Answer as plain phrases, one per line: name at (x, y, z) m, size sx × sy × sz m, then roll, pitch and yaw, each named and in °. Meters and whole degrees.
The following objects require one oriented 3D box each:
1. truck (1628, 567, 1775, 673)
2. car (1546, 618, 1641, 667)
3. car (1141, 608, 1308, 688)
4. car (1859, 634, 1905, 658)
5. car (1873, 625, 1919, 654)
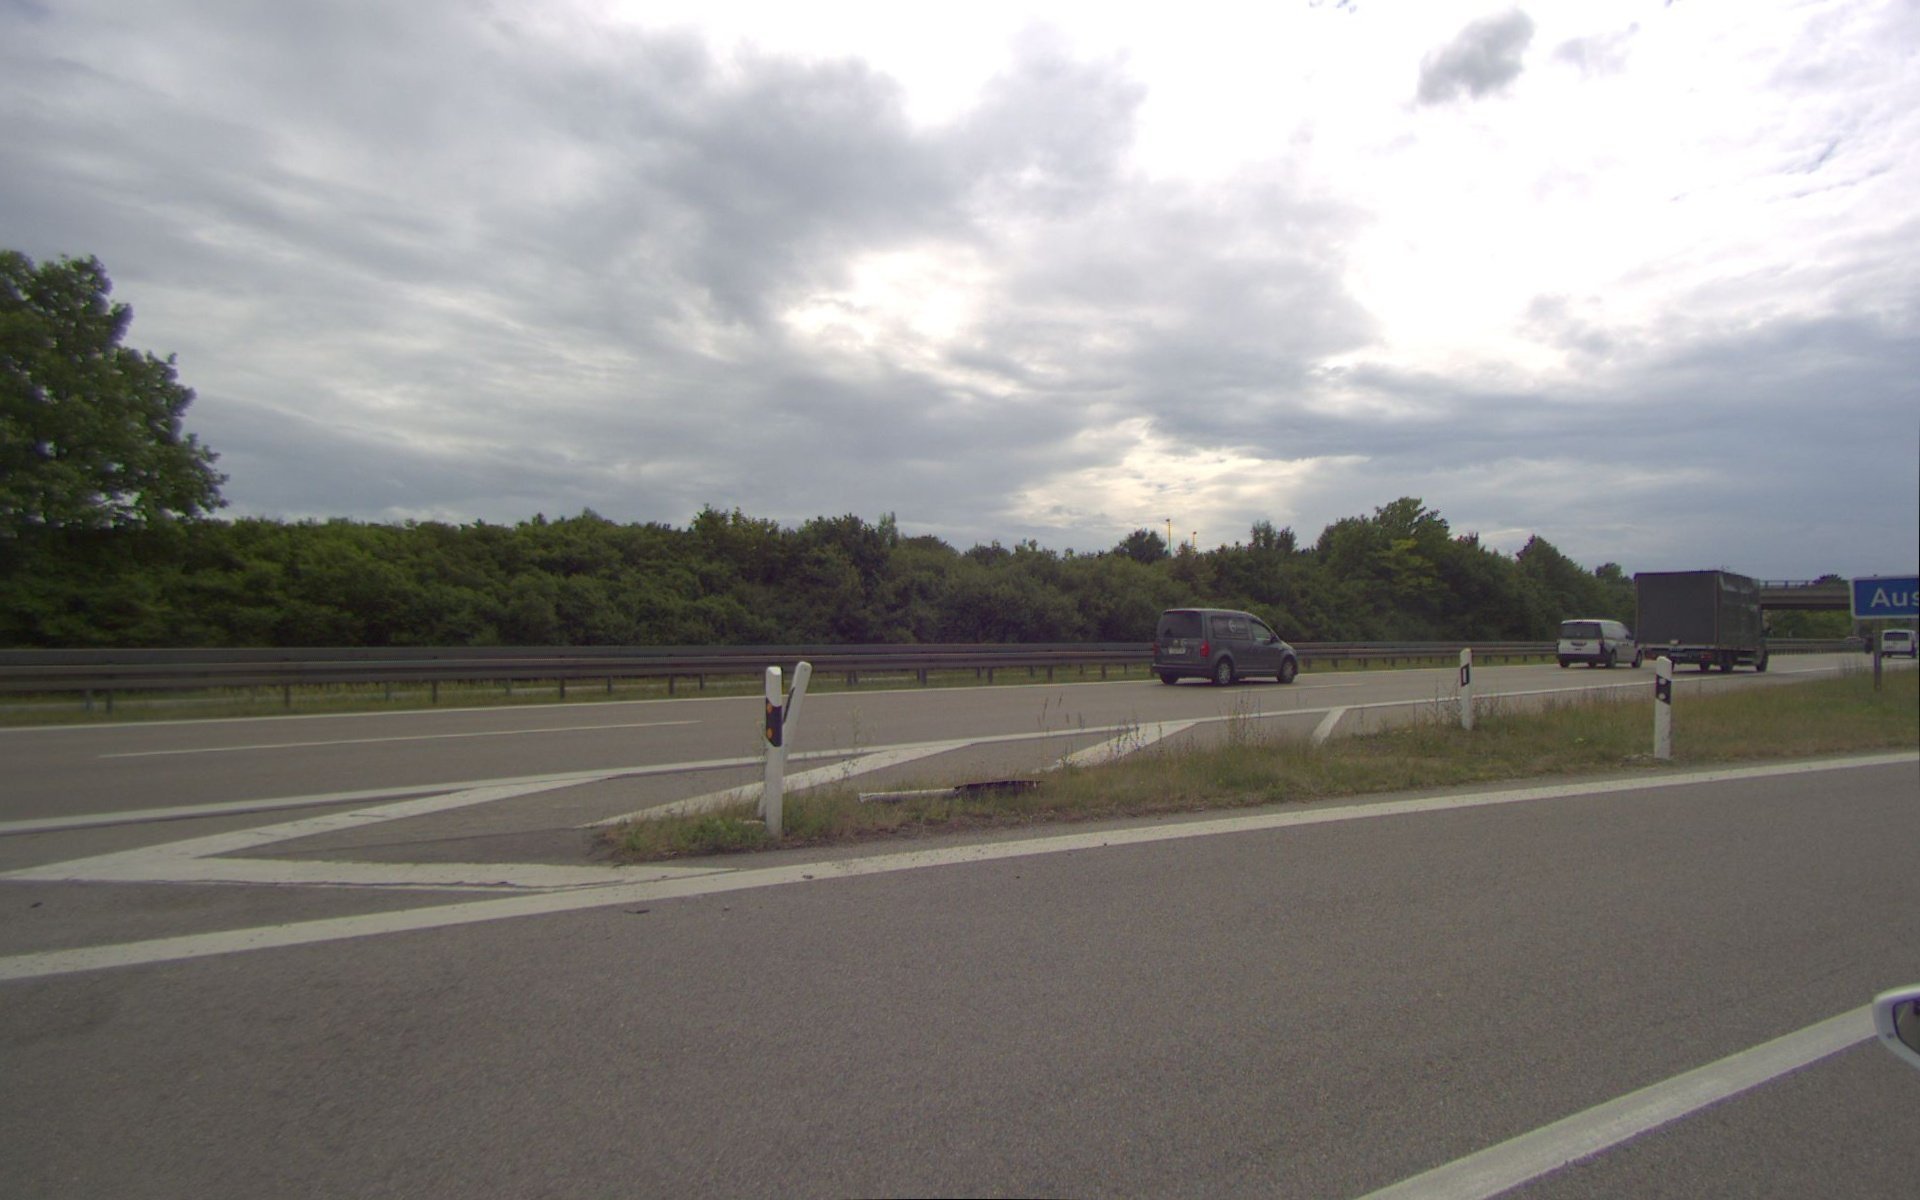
truck at (26.768, 0.808, 36.102) m, size 7.859 × 3.415 × 2.447 m, roll 2°, pitch -3°, yaw -40°
car at (24.863, 1.656, 39.390) m, size 3.966 × 1.834 × 1.978 m, roll 2°, pitch -2°, yaw -39°
car at (6.534, 1.141, 24.598) m, size 4.301 × 1.782 × 1.830 m, roll 2°, pitch -2°, yaw -40°
car at (73.516, 3.637, 80.100) m, size 5.366 × 1.809 × 1.978 m, roll 2°, pitch -2°, yaw -39°
car at (60.790, 2.549, 65.014) m, size 4.448 × 1.774 × 1.862 m, roll 2°, pitch -2°, yaw -39°
